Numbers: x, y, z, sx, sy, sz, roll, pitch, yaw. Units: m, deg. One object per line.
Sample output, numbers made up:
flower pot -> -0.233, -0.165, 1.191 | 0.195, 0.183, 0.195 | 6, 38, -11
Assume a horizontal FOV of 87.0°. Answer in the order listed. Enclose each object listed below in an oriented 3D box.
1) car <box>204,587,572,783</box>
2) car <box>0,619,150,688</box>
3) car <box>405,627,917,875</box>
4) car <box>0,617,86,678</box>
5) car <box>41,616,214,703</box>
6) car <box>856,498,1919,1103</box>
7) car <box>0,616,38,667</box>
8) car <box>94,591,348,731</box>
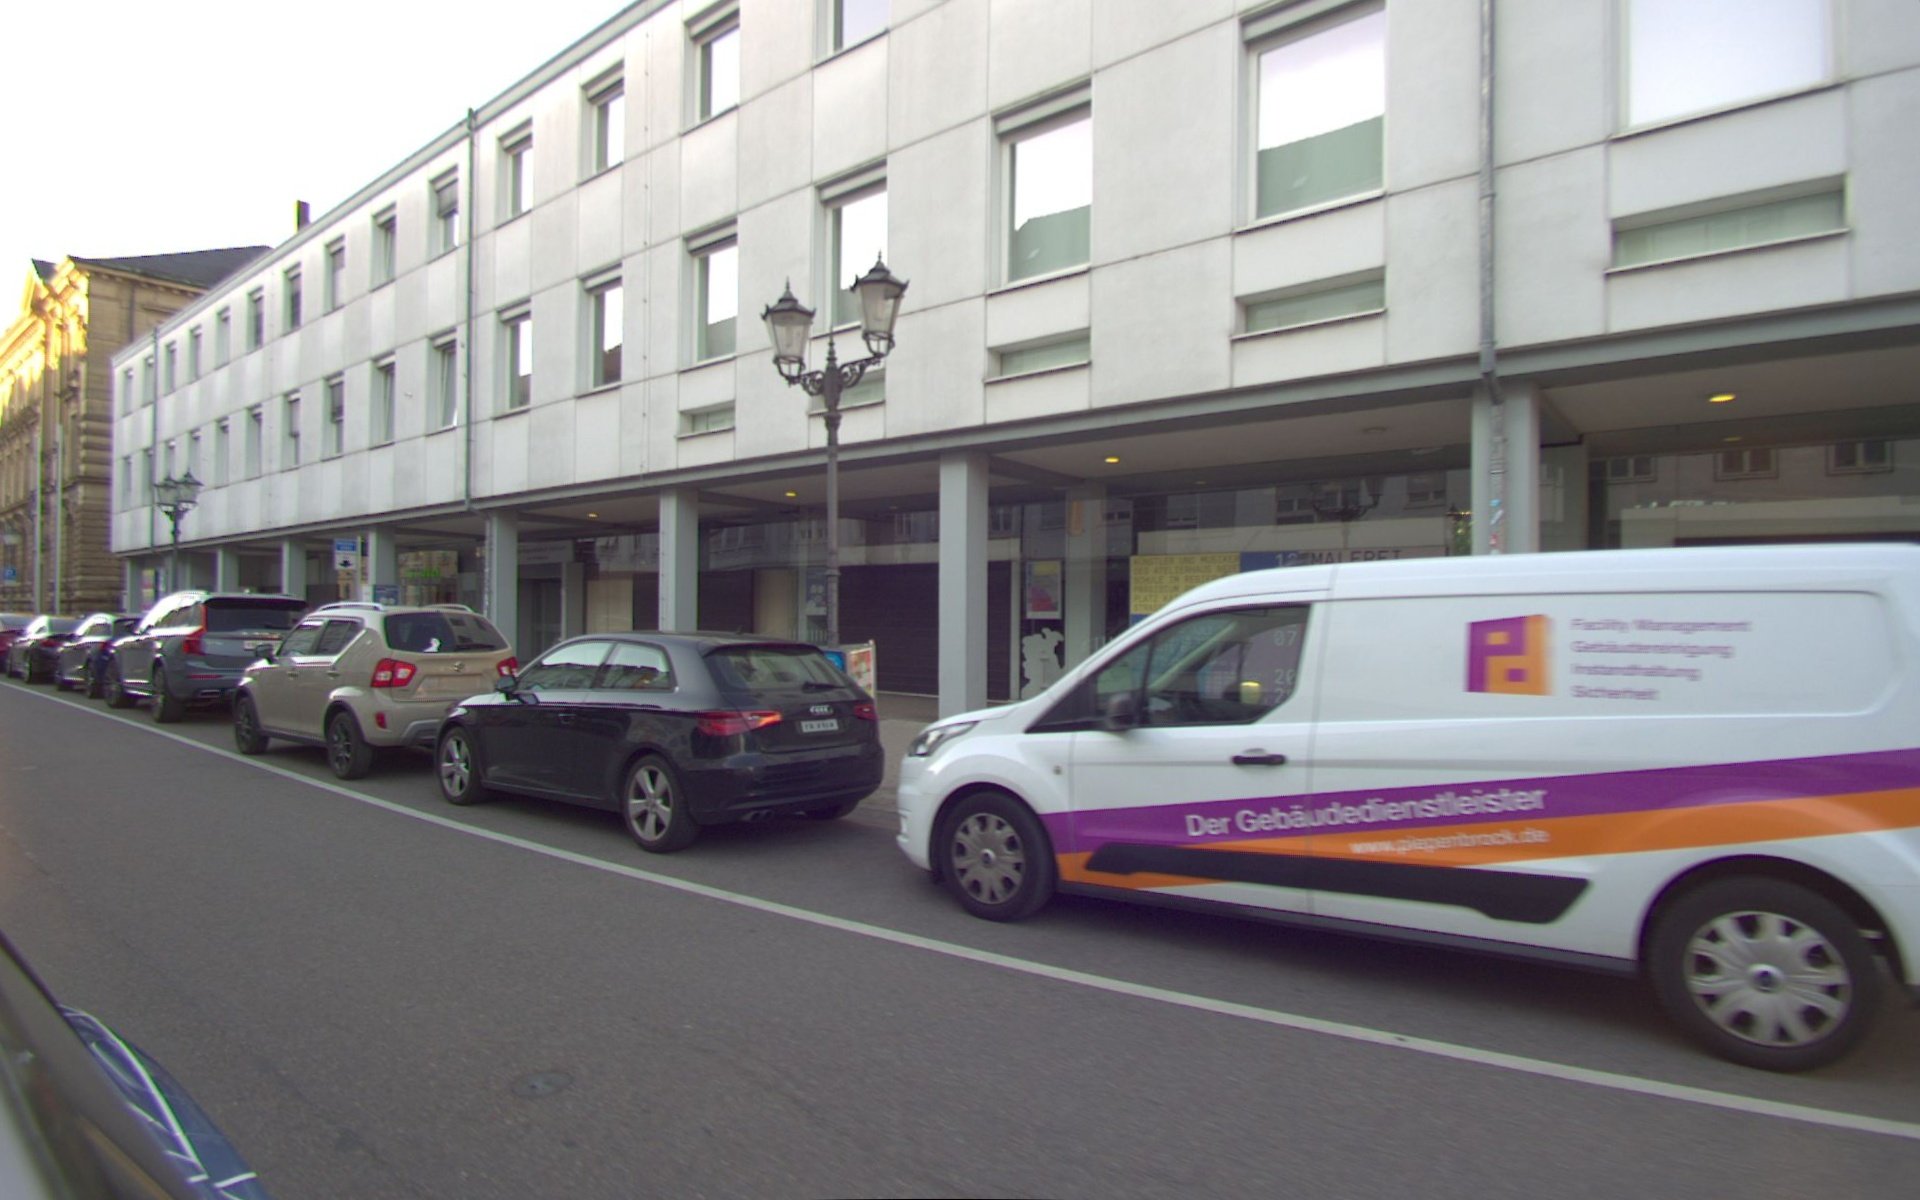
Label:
car -> -6.105, 0.775, 10.666 | 3.994, 1.674, 1.974 | -1, -2, 38
car -> -19.516, 1.129, 22.202 | 3.997, 1.364, 1.973 | -1, -3, 40
car -> -2.426, 0.914, 7.716 | 4.099, 1.364, 1.662 | -1, -1, 38
car -> -23.514, 1.151, 25.419 | 4.086, 1.419, 1.766 | -1, -2, 41
car -> -15.141, 1.007, 18.346 | 3.996, 1.411, 1.656 | -1, -2, 39
car -> 1.970, 0.629, 4.866 | 4.769, 1.829, 1.978 | -1, -1, 33
car -> -28.343, 1.163, 29.435 | 4.086, 1.419, 1.766 | -1, -2, 41
car -> -10.893, 0.816, 14.802 | 4.512, 1.741, 1.973 | -1, -3, 40
